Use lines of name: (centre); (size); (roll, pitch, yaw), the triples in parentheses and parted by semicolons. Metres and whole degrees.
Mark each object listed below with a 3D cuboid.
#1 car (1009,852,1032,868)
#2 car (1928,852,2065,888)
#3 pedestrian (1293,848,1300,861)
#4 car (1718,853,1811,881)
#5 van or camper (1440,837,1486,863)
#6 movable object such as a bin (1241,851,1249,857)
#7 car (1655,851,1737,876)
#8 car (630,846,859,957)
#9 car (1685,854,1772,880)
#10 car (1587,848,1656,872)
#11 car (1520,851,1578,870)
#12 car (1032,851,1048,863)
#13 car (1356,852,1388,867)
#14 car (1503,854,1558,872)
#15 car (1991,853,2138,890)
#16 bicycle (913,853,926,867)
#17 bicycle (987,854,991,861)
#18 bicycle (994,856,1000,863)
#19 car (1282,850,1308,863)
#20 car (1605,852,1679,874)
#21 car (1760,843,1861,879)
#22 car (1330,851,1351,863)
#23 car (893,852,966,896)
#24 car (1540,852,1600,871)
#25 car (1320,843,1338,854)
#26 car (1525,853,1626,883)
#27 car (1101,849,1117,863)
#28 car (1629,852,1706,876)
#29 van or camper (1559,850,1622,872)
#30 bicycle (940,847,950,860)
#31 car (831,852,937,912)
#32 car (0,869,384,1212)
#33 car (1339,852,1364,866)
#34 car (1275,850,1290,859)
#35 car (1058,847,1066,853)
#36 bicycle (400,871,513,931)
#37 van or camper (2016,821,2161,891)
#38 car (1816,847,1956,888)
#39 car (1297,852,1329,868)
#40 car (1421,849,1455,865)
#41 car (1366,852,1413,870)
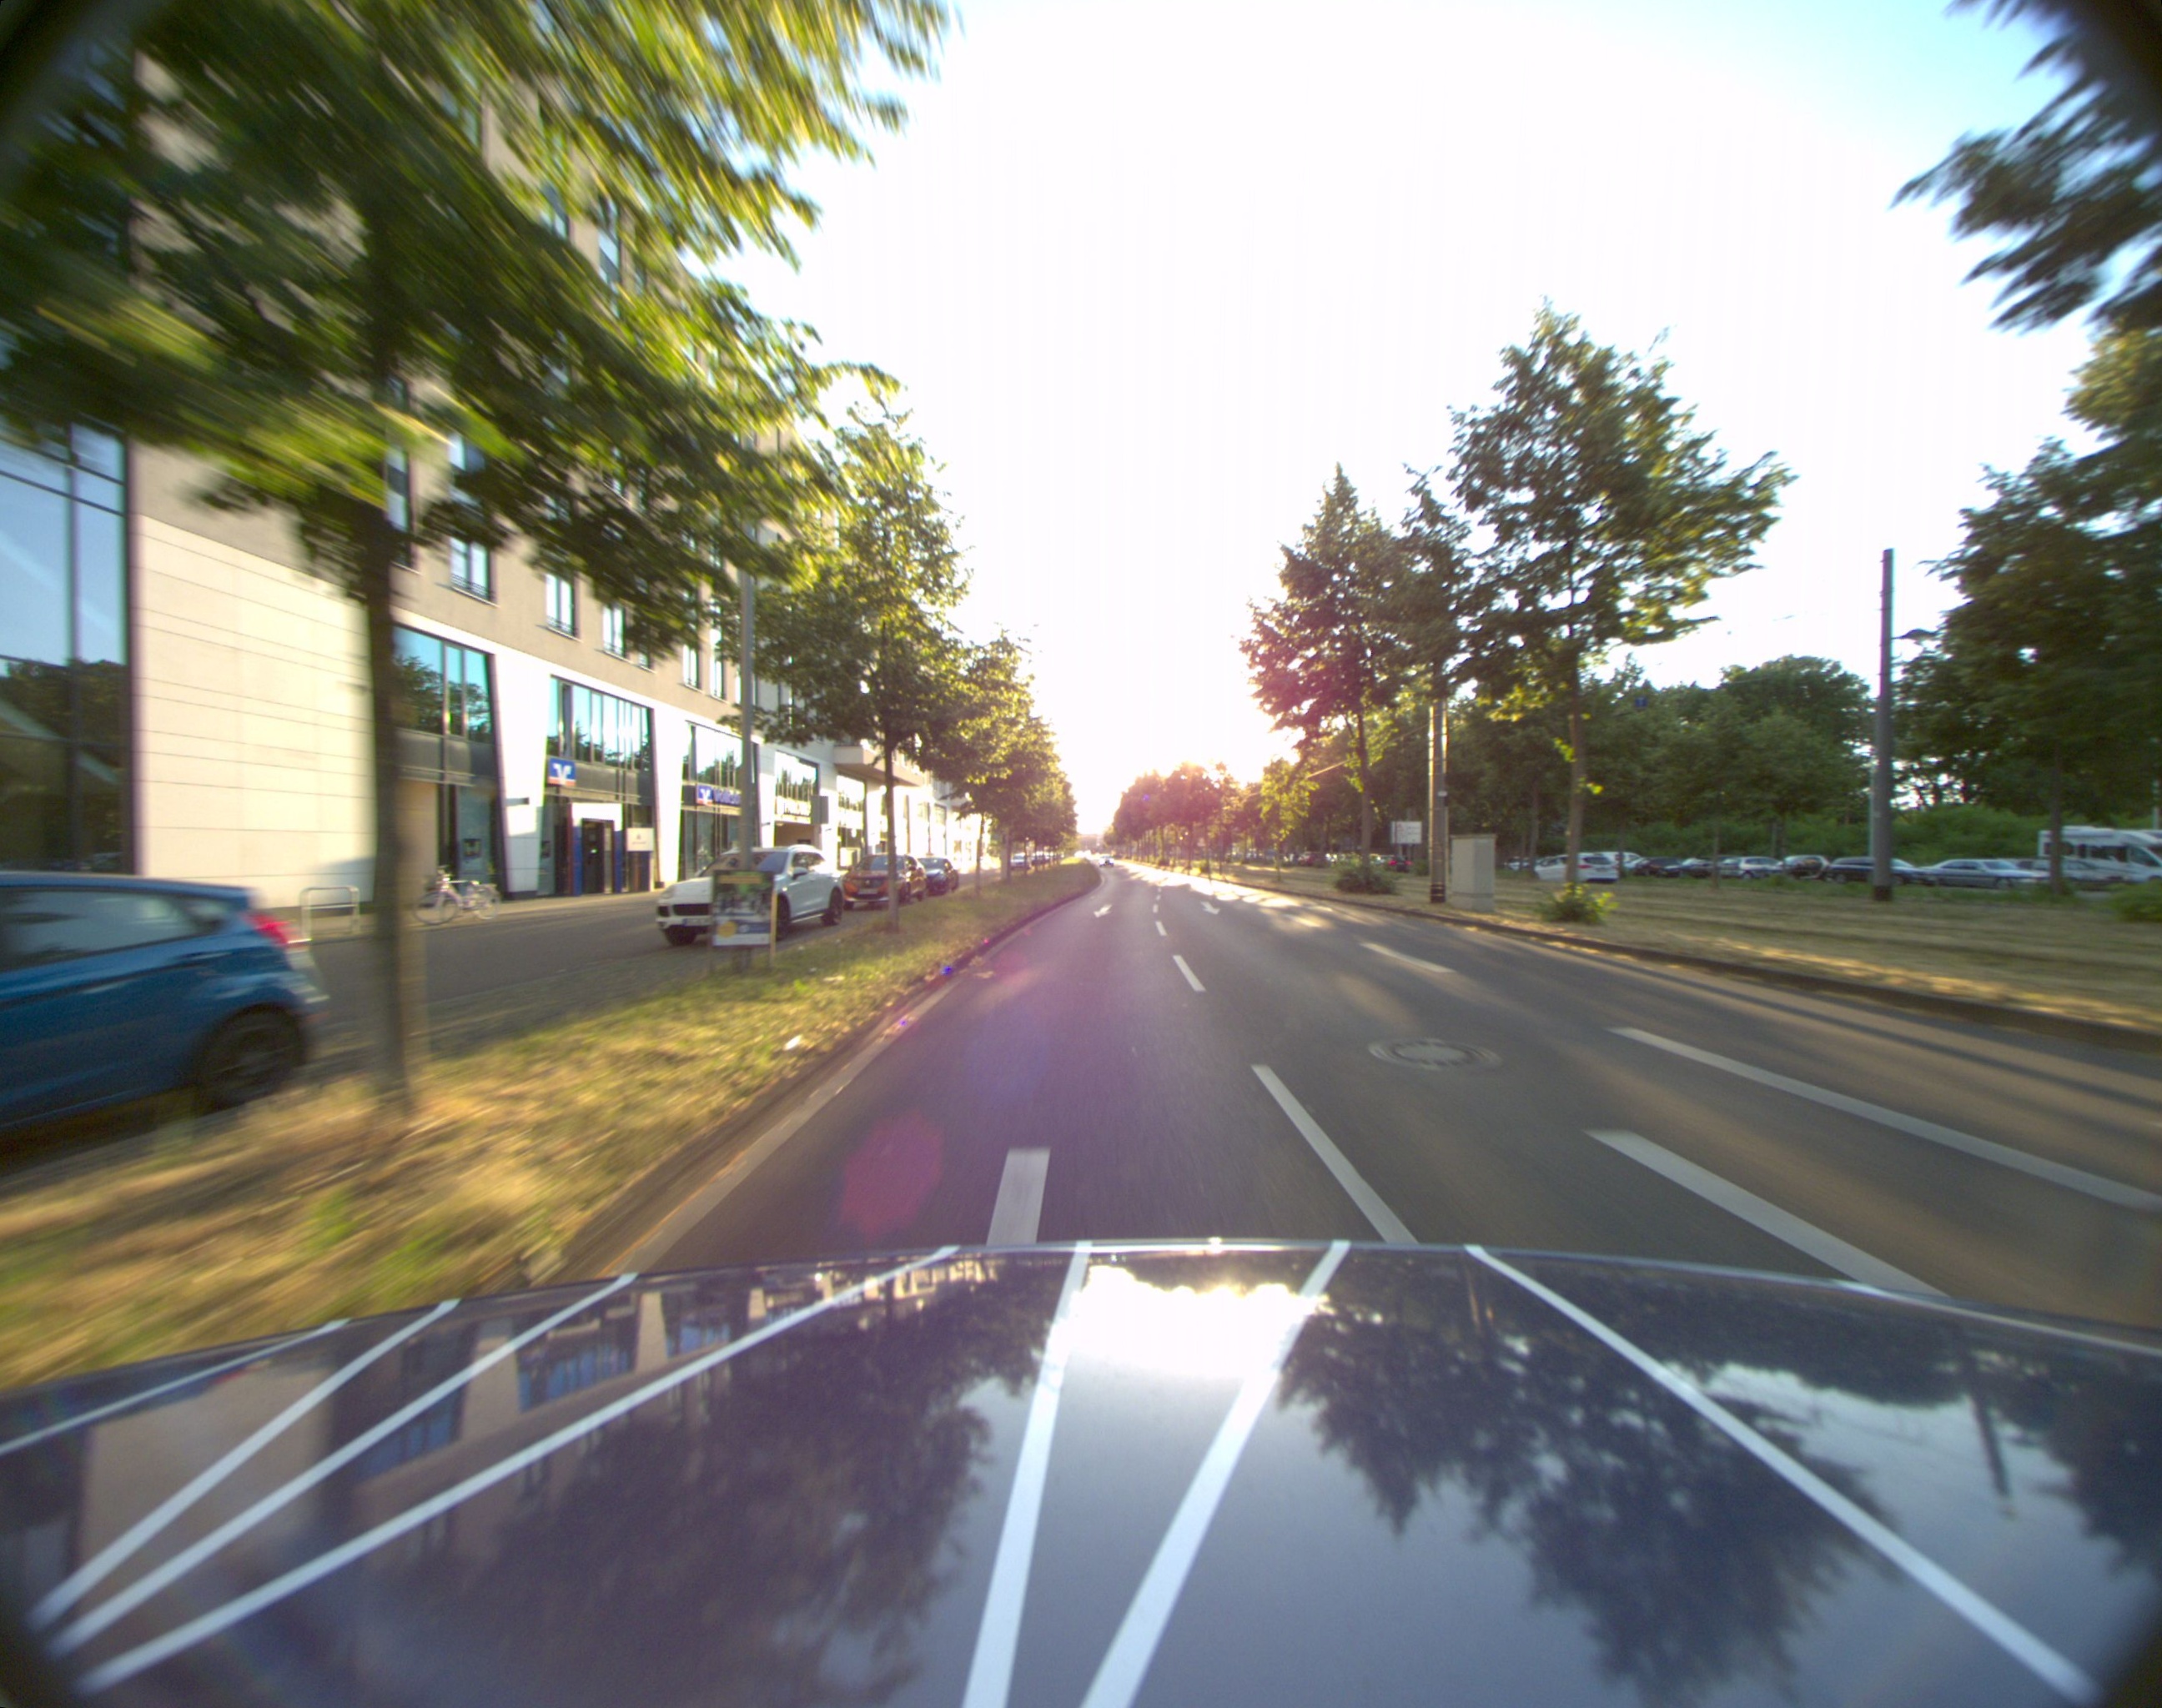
car: (-5.719, 0.539, 72.626); (1.813, 1.492, 4.825); (0, 0, 0)
car: (43.989, 0.743, 36.651); (1.920, 1.630, 4.001); (0, 0, 4)
pedestrian: (31.568, 0.073, 111.376); (0.695, 1.859, 0.865); (0, 1, -7)
car: (41.200, 0.766, 45.837); (3.998, 1.630, 1.921); (0, 0, -3)
van or camper: (41.395, -0.410, 82.521); (2.090, 2.719, 5.494); (0, 0, -1)
movable object such as a bin: (38.216, 0.076, 177.263); (1.556, 1.364, 1.724); (0, 0, 2)
car: (41.119, 0.617, 50.842); (3.998, 1.630, 1.921); (0, 0, -3)
car: (-6.109, 0.745, 14.662); (1.956, 1.704, 5.158); (-2, 0, 2)
car: (41.272, 0.814, 48.496); (3.998, 1.630, 1.921); (0, 0, -3)
car: (42.083, 0.471, 59.213); (3.997, 1.834, 2.012); (0, 0, 1)
car: (41.573, 0.550, 67.523); (3.998, 1.630, 1.921); (0, 0, -3)
car: (-5.336, 0.346, 99.288); (1.728, 1.492, 4.232); (-1, 0, 1)
car: (34.781, 0.663, 91.043); (1.999, 1.740, 4.790); (0, 0, 0)
car: (41.957, 0.807, 70.911); (3.996, 1.630, 1.922); (0, 0, 2)
car: (46.562, 0.780, 36.126); (1.920, 1.630, 4.001); (0, 0, 4)
bicycle: (-12.471, 0.426, 58.732); (0.534, 1.054, 1.857); (2, 0, 1)
bicycle: (-12.441, 0.466, 102.762); (0.534, 1.053, 1.611); (0, 0, -5)
bicycle: (-11.946, 0.767, 108.027); (0.621, 1.027, 2.261); (0, 0, -1)
car: (26.279, 0.318, 93.429); (1.923, 1.499, 4.287); (0, 0, 0)
car: (41.640, 0.670, 56.477); (3.994, 1.630, 1.923); (0, 0, 7)
car: (41.706, 0.377, 43.503); (3.998, 2.002, 1.999); (0, 1, -3)
car: (34.889, 0.440, 102.286); (1.807, 1.551, 3.839); (0, 0, 6)
car: (-5.727, 0.717, 29.283); (1.949, 1.540, 4.810); (0, 0, -2)
car: (42.107, 0.635, 65.443); (3.998, 1.630, 1.921); (0, 0, -3)
car: (45.919, -1.023, 140.591); (1.998, 2.002, 5.060); (0, 0, 4)
car: (22.704, 0.600, 35.132); (1.661, 1.324, 4.529); (0, 0, -1)
car: (3.461, 0.229, 94.534); (1.828, 1.625, 4.000); (0, 0, 0)
car: (41.095, 0.685, 53.313); (3.998, 1.630, 1.921); (0, 0, -3)
van or camper: (41.744, 0.572, 62.304); (4.000, 1.780, 1.998); (0, 0, -10)
bicycle: (-12.522, -0.040, 69.807); (0.539, 1.157, 1.781); (2, 0, 1)
car: (-5.551, 0.720, 22.043); (1.859, 1.521, 4.482); (-2, 0, 0)
car: (-5.812, 0.899, 3.222); (1.728, 1.521, 4.268); (-2, 0, 0)
car: (34.407, 0.575, 96.818); (1.998, 1.740, 4.161); (0, 0, 5)
car: (35.773, 0.048, 135.117); (1.997, 1.630, 4.002); (0, 0, 7)
car: (-4.829, -0.892, 190.805); (1.924, 1.492, 5.410); (0, 0, 0)
bicycle: (-12.795, 0.927, 15.648); (0.571, 1.118, 1.835); (2, 0, 12)
van or camper: (49.082, 0.073, 35.755); (2.716, 3.067, 6.264); (-1, 0, 4)
car: (41.477, 0.644, 39.382); (1.999, 2.002, 4.931); (0, 0, 0)
car: (23.389, 0.564, 76.706); (1.890, 1.569, 4.181); (0, 0, -1)
car: (41.268, 0.338, 87.873); (1.999, 1.740, 3.999); (0, 0, 0)
car: (23.353, 0.523, 57.673); (1.661, 1.324, 4.473); (0, 0, -1)
